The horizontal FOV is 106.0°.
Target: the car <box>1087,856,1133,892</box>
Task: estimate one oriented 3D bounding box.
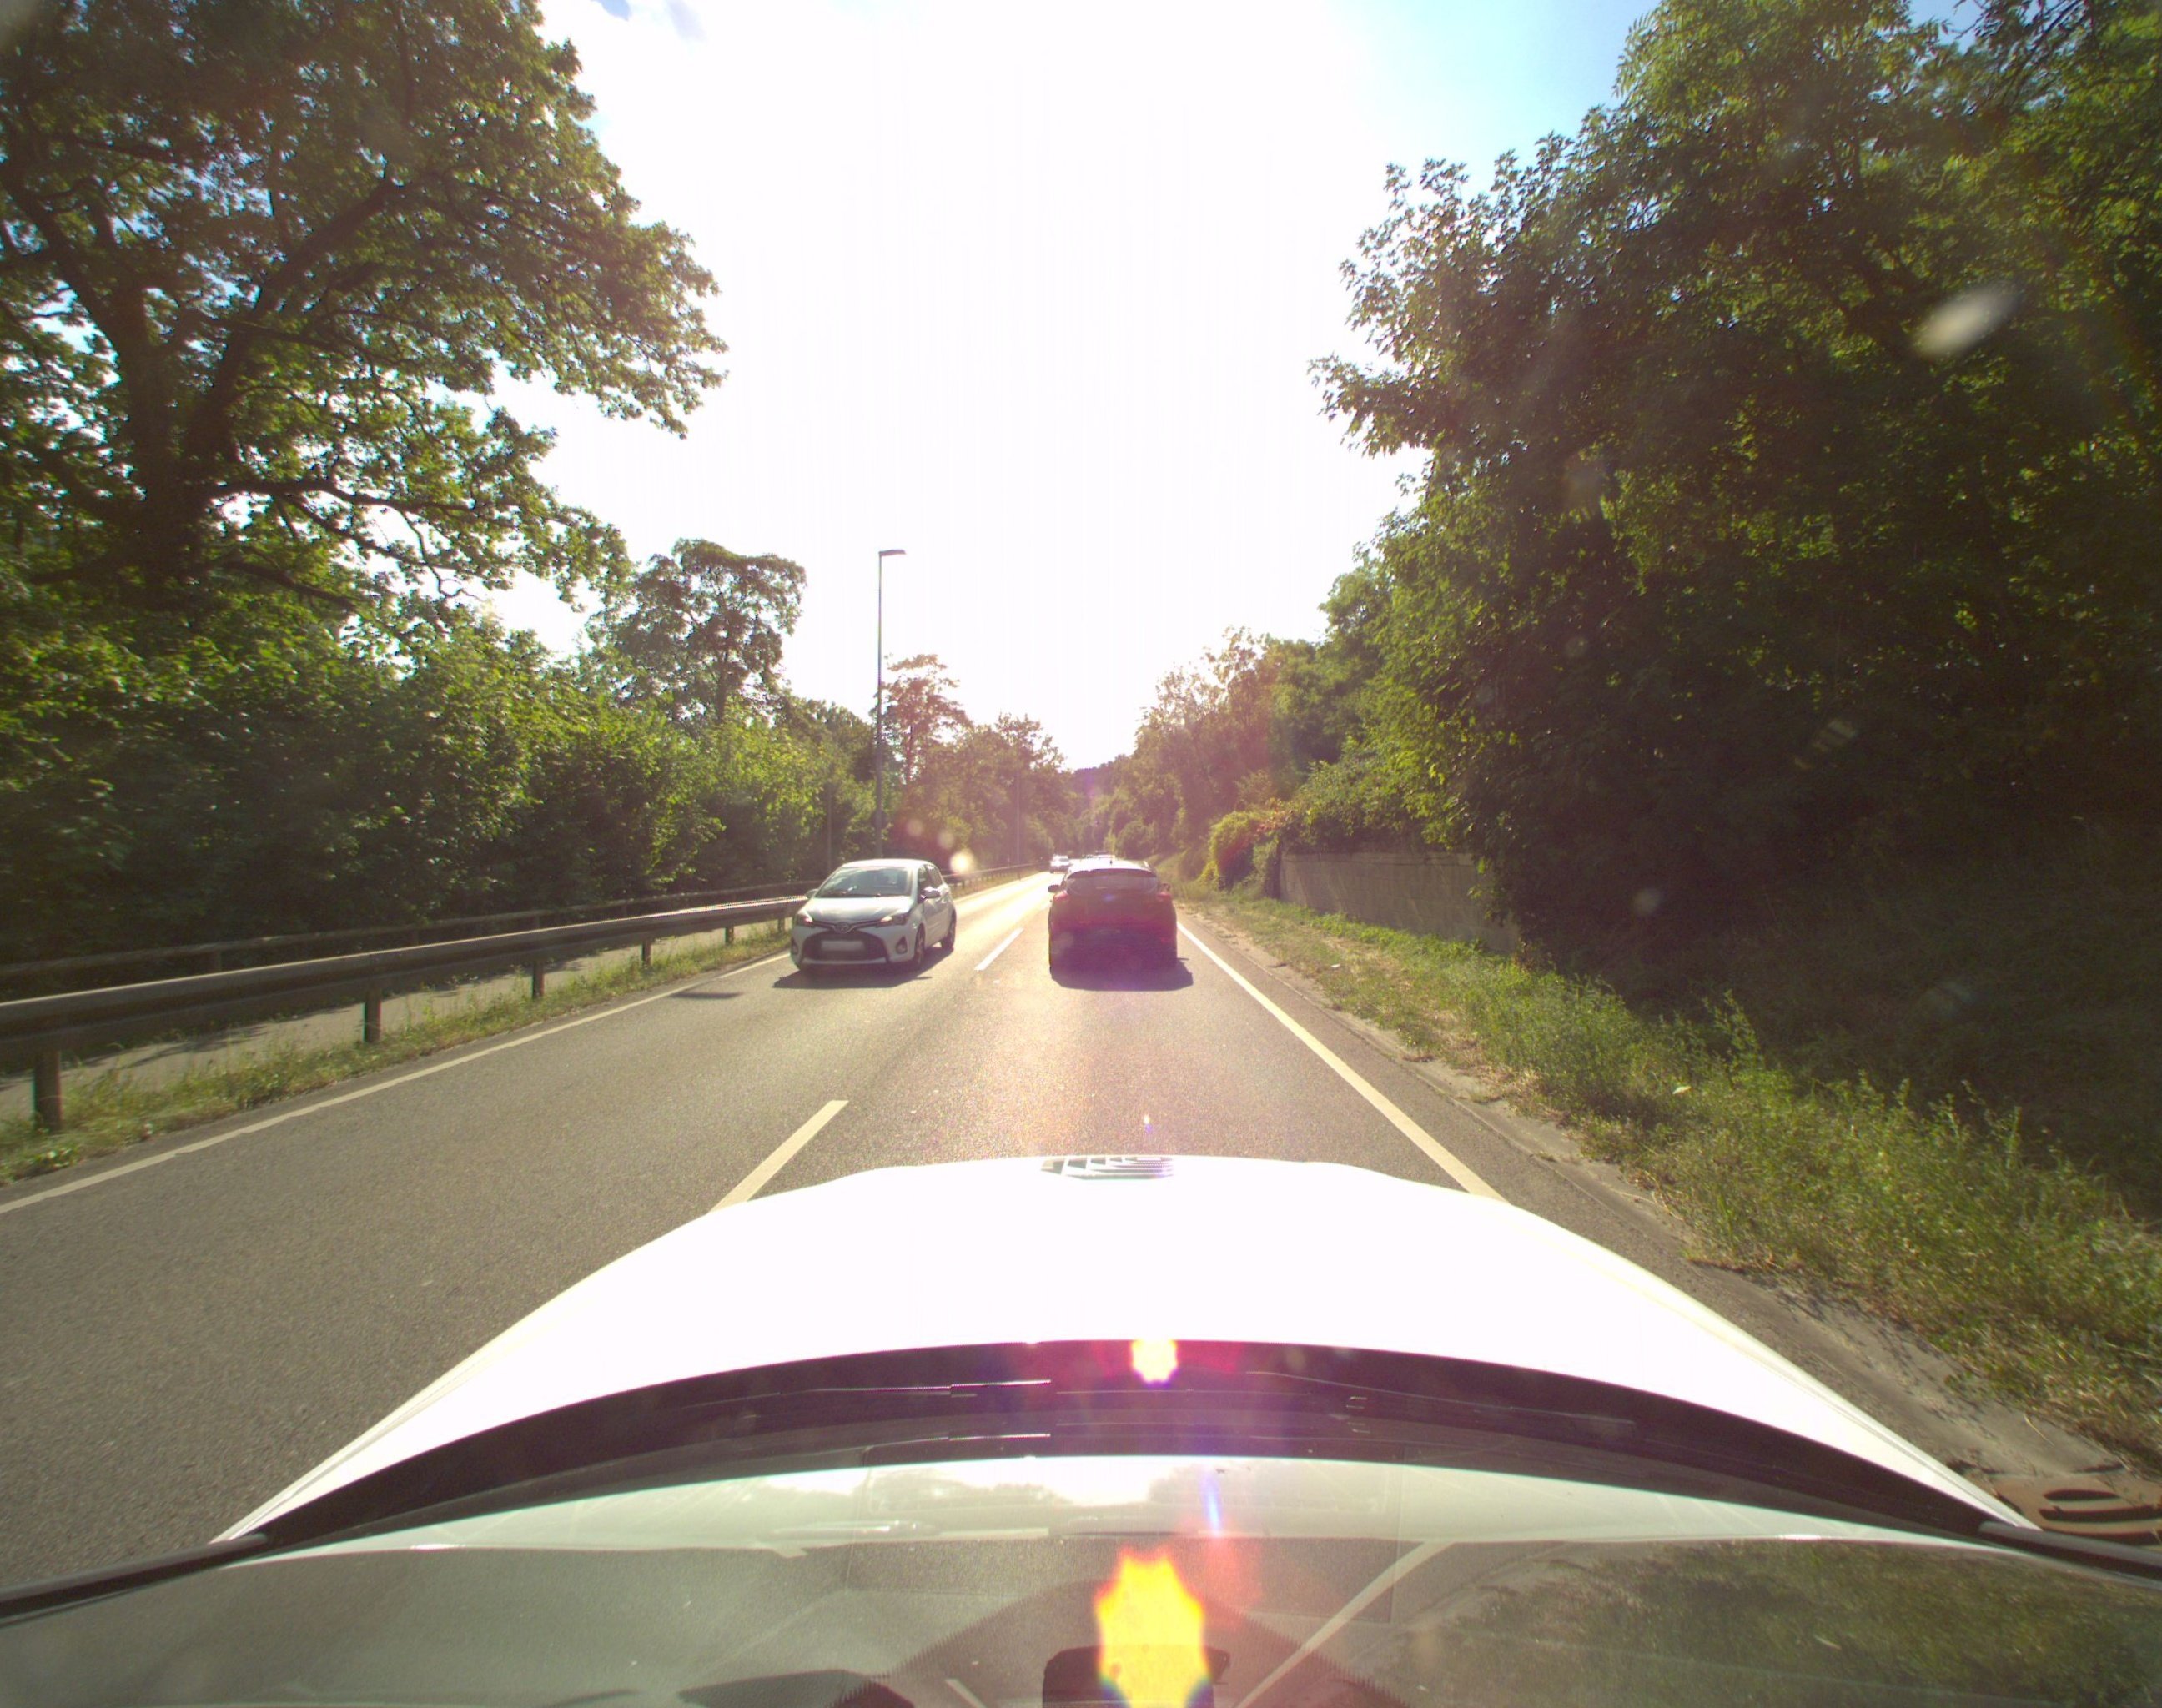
[{"bbox_3d":[1.211,0.784,34.028,1.798,1.391,4.002,-1,0,2],"label":"car"}]

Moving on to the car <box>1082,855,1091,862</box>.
[{"bbox_3d":[1.379,1.108,196.769,1.988,1.519,3.997,-1,0,-2],"label":"car"}]

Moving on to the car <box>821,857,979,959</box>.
[{"bbox_3d":[-2.911,0.799,14.003,1.676,1.463,4.198,-1,0,1],"label":"car"}]

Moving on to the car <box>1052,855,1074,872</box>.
[{"bbox_3d":[-1.559,0.837,71.722,1.768,1.387,4.002,-1,0,2],"label":"car"}]

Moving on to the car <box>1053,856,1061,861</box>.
[{"bbox_3d":[-7.762,1.447,260.499,1.995,1.519,3.984,-1,0,-11],"label":"car"}]

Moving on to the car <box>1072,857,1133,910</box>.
[{"bbox_3d":[0.703,0.811,24.309,1.654,1.418,4.003,-1,0,3],"label":"car"}]

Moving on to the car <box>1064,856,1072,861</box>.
[{"bbox_3d":[-3.727,1.324,239.120,1.991,1.519,3.992,-1,0,-6],"label":"car"}]

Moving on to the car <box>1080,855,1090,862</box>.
[{"bbox_3d":[1.005,1.151,206.974,1.991,1.519,3.992,-1,0,-6],"label":"car"}]

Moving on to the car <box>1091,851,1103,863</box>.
[{"bbox_3d":[2.462,0.444,127.045,1.857,1.780,3.999,-1,0,-1],"label":"car"}]

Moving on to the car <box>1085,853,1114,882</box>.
[{"bbox_3d":[1.122,0.772,48.270,1.624,1.596,4.002,-1,0,2],"label":"car"}]

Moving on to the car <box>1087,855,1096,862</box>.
[{"bbox_3d":[2.359,1.007,184.505,1.812,1.519,4.002,-1,0,2],"label":"car"}]

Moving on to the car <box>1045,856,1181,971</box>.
[{"bbox_3d":[0.470,0.781,12.514,1.733,1.456,4.001,-1,0,2],"label":"car"}]
